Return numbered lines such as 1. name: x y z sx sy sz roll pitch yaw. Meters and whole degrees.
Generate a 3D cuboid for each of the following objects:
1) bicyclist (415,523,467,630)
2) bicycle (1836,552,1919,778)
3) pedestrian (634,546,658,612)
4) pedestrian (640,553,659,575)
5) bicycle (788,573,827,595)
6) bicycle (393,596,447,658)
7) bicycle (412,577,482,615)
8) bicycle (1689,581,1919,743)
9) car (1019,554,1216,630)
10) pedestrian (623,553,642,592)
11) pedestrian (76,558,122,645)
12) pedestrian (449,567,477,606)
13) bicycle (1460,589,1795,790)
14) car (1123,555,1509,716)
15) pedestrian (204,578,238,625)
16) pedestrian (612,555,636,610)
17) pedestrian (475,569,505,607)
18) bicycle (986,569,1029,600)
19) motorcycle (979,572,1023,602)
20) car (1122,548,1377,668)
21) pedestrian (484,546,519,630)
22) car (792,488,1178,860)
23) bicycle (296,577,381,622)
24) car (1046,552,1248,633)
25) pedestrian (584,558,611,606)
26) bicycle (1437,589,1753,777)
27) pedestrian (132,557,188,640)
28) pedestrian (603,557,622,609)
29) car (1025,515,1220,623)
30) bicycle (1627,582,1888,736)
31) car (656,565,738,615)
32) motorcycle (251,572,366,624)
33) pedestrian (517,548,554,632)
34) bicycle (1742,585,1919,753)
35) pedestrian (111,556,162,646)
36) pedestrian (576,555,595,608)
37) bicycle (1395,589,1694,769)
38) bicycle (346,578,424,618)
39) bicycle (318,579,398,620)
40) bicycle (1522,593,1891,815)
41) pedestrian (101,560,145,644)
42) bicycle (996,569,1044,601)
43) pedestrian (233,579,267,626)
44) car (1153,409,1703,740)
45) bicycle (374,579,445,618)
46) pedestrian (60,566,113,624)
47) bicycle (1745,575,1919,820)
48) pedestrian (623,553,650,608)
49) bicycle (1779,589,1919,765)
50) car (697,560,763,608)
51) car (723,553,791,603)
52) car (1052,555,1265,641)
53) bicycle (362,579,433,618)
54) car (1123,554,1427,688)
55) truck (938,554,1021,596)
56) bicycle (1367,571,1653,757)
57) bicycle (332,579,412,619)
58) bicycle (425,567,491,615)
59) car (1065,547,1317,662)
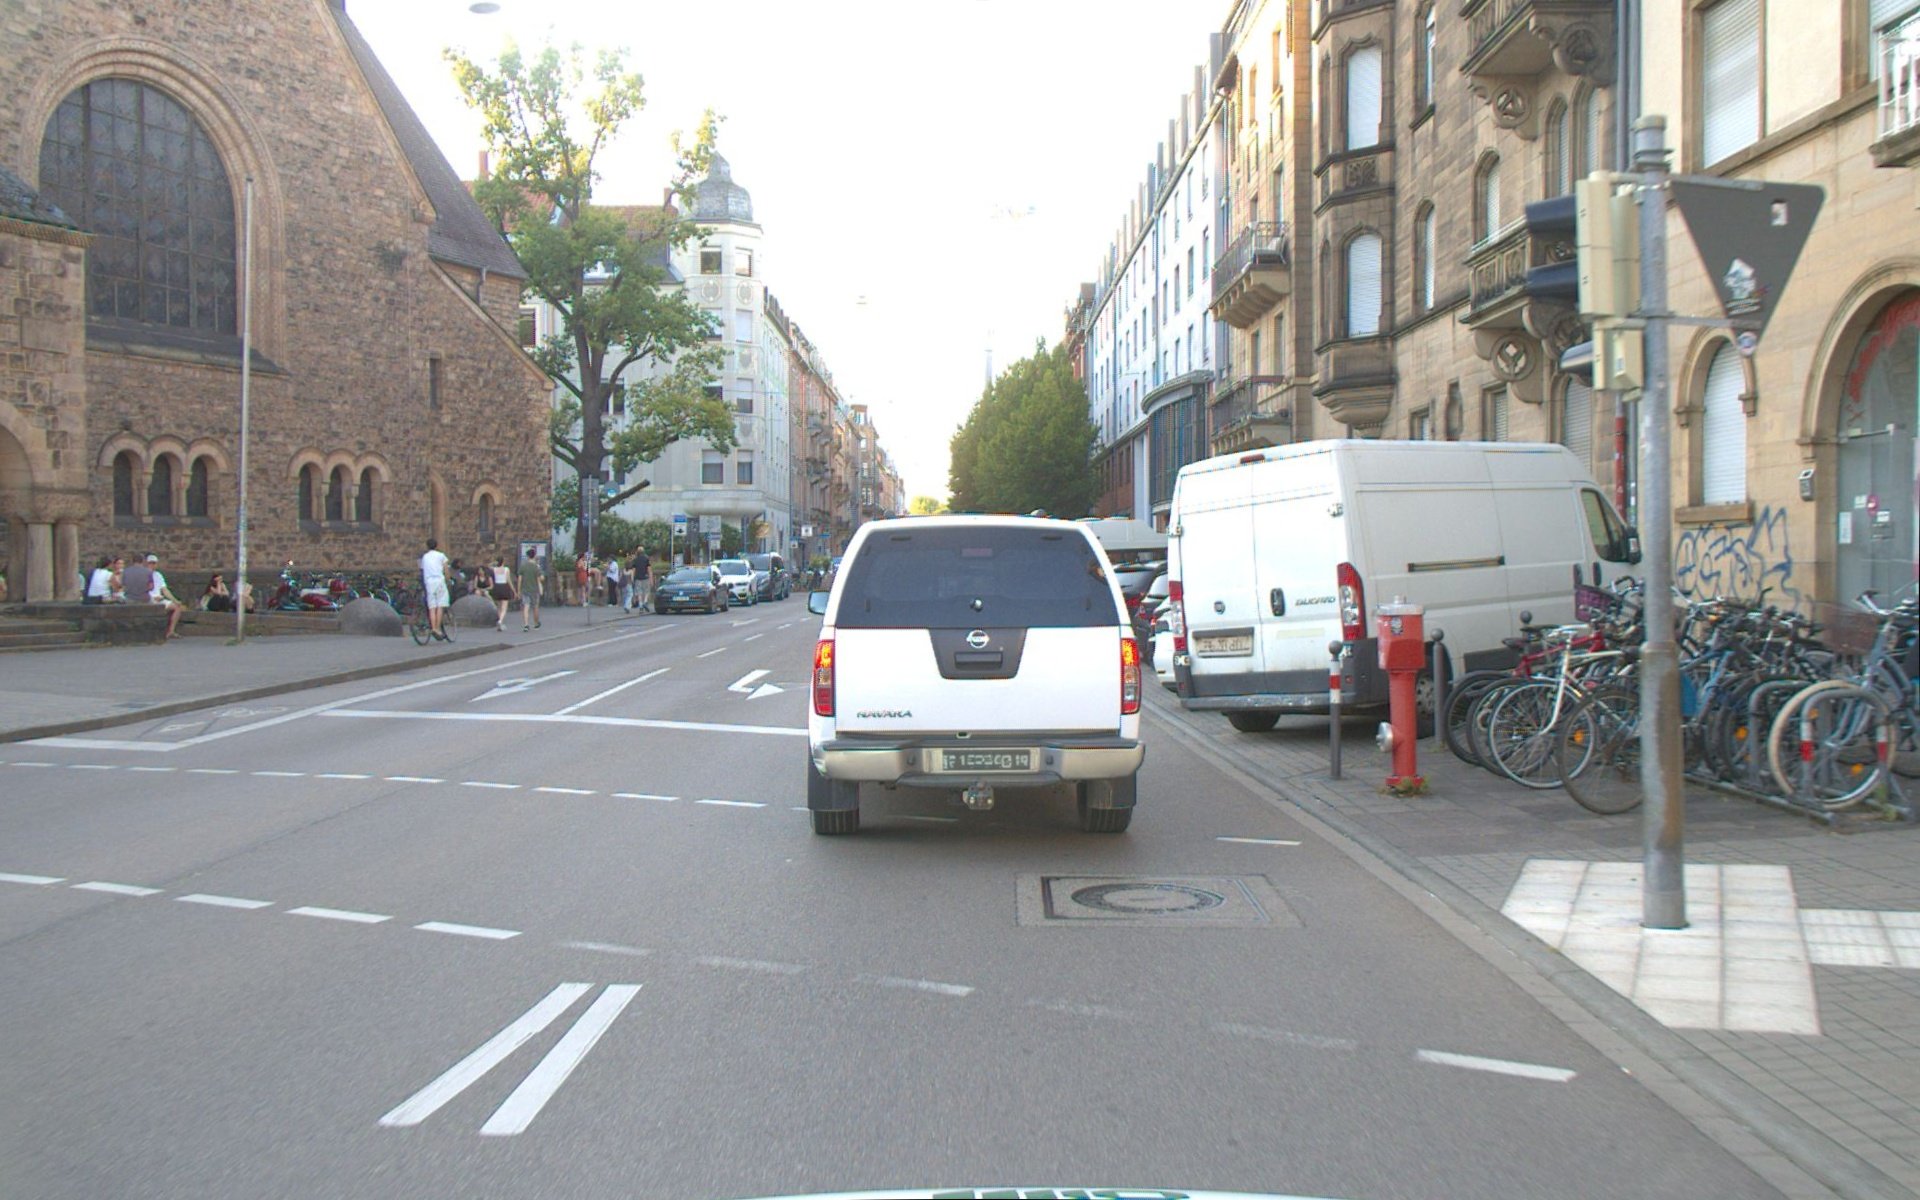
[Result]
1. bicyclist: -9.465 -0.425 30.163 0.692 1.913 0.941 1 1 -5
2. bicycle: 6.320 0.336 10.029 1.738 1.295 0.541 -4 1 -6
3. pedestrian: -9.247 -0.619 48.683 0.570 1.938 0.802 -1 1 -4
4. pedestrian: -13.994 -1.625 74.593 0.692 0.997 0.837 -1 1 -2
5. bicycle: -8.021 -0.826 87.062 2.068 1.114 0.501 1 2 25
6. bicycle: -9.829 0.469 30.159 0.541 1.030 2.184 1 1 -8
7. bicycle: -13.794 -0.101 44.447 1.838 1.006 0.442 0 1 15
8. bicycle: 6.264 0.431 11.961 1.738 1.027 0.541 -4 1 -6
9. car: 3.710 -0.207 38.704 4.341 1.512 1.824 -4 2 -31
10. pedestrian: -14.748 -1.247 74.573 0.692 1.751 0.837 -1 1 -2
11. pedestrian: -14.323 0.022 27.515 0.394 1.431 0.546 0 1 34
12. pedestrian: -13.951 -0.380 46.400 0.487 1.066 0.608 0 1 20
13. bicycle: 4.264 0.551 10.593 1.959 1.106 0.540 -4 1 -9
14. car: 4.001 0.324 18.271 4.214 1.478 1.972 -3 1 -39
15. pedestrian: -15.879 0.022 35.525 0.555 0.984 0.642 -1 1 -34
16. pedestrian: -9.871 -0.521 48.558 0.570 1.579 0.839 0 1 -4
17. pedestrian: -13.218 -0.335 46.554 0.505 1.074 0.700 0 1 16
18. bicycle: 1.936 -0.624 67.508 1.673 1.196 0.472 -2 1 -2
19. motorcycle: 1.627 -0.524 65.428 1.614 1.120 0.646 -3 1 -9
20. car: 4.409 0.095 24.881 3.883 1.571 1.691 -4 0 -42
21. pedestrian: -10.442 -0.282 37.721 0.561 1.889 0.988 0 1 -4
22. car: 0.095 0.312 10.492 1.894 1.825 4.621 0 1 -1
23. bicycle: -15.298 -0.024 40.732 1.959 1.006 0.586 3 2 15
24. car: 4.084 -0.162 35.993 4.063 1.573 1.778 -2 -1 -29
25. pedestrian: -11.830 -0.596 53.945 0.637 1.572 0.585 0 1 23
26. bicycle: 4.310 0.541 11.248 1.959 1.106 0.540 -4 1 -9
27. pedestrian: -14.040 -0.028 29.030 0.689 1.431 0.630 0 1 34
28. pedestrian: -11.253 -0.554 53.552 0.411 1.650 0.541 -1 1 -40
29. car: 4.108 -0.776 41.641 4.660 2.591 1.899 -1 0 -30
30. bicycle: 6.063 0.434 12.601 1.738 1.027 0.541 -4 1 -6
31. car: -8.071 -0.349 51.062 1.746 1.460 4.317 0 1 1
32. motorcycle: -15.368 -0.058 39.056 2.364 1.145 0.822 2 1 3
33. pedestrian: -9.731 -0.242 37.940 0.634 1.912 0.891 0 1 -4
34. bicycle: 6.344 0.442 11.311 1.738 1.027 0.541 -4 1 -6
35. pedestrian: -13.641 0.009 27.410 0.539 1.478 0.556 0 1 34
36. pedestrian: -12.012 -0.596 53.083 0.411 1.703 0.541 -1 1 -40
37. bicycle: 4.171 0.541 11.822 1.959 1.106 0.540 -4 1 -9
38. bicycle: -14.715 -0.039 42.329 1.942 1.006 0.466 0 1 15
39. bicycle: -15.056 -0.012 41.359 1.959 1.006 0.466 0 1 15
40. bicycle: 4.346 0.577 9.656 1.959 1.106 0.540 -4 1 -9
41. pedestrian: -14.441 0.024 28.541 0.537 1.431 0.457 0 1 35
42. bicycle: 2.415 -0.589 66.576 1.821 1.166 0.659 -4 1 -1
43. pedestrian: -15.418 0.051 35.912 0.555 1.009 0.688 -1 1 -34
44. car: 4.634 -0.273 15.715 5.834 2.596 2.163 -3 0 -42
45. bicycle: -14.379 -0.048 43.188 1.838 1.006 0.371 0 1 14
46. pedestrian: -17.440 -0.108 33.017 0.679 1.113 1.314 -1 1 -40
47. bicycle: 5.405 0.479 8.968 1.955 1.221 0.646 -3 1 -1
48. pedestrian: -10.385 -0.624 53.101 0.699 1.755 0.692 0 1 0
49. bicycle: 6.283 0.454 10.675 1.738 1.027 0.541 -4 1 -6
50. car: -8.170 -0.591 59.069 1.833 1.619 4.467 -1 1 -2
51. car: -8.075 -0.892 66.188 1.952 1.899 5.291 0 1 1
52. car: 3.984 -0.052 33.057 3.989 1.456 1.845 -4 1 -35
53. bicycle: -14.545 -0.038 42.756 1.838 1.006 0.371 0 1 15
54. car: 4.164 0.247 21.599 3.881 1.471 1.847 -4 0 -41
55. truck: 1.491 -1.847 124.874 6.190 3.029 2.264 0 -2 1
56. bicycle: 4.112 0.459 12.390 1.959 1.225 0.540 -4 1 -9
57. bicycle: -14.874 -0.022 41.837 1.959 1.006 0.466 0 1 15
58. bicycle: -13.635 -0.249 44.921 1.691 1.270 0.437 0 1 14
59. car: 3.863 0.045 27.353 4.059 1.635 1.791 -4 1 -39
